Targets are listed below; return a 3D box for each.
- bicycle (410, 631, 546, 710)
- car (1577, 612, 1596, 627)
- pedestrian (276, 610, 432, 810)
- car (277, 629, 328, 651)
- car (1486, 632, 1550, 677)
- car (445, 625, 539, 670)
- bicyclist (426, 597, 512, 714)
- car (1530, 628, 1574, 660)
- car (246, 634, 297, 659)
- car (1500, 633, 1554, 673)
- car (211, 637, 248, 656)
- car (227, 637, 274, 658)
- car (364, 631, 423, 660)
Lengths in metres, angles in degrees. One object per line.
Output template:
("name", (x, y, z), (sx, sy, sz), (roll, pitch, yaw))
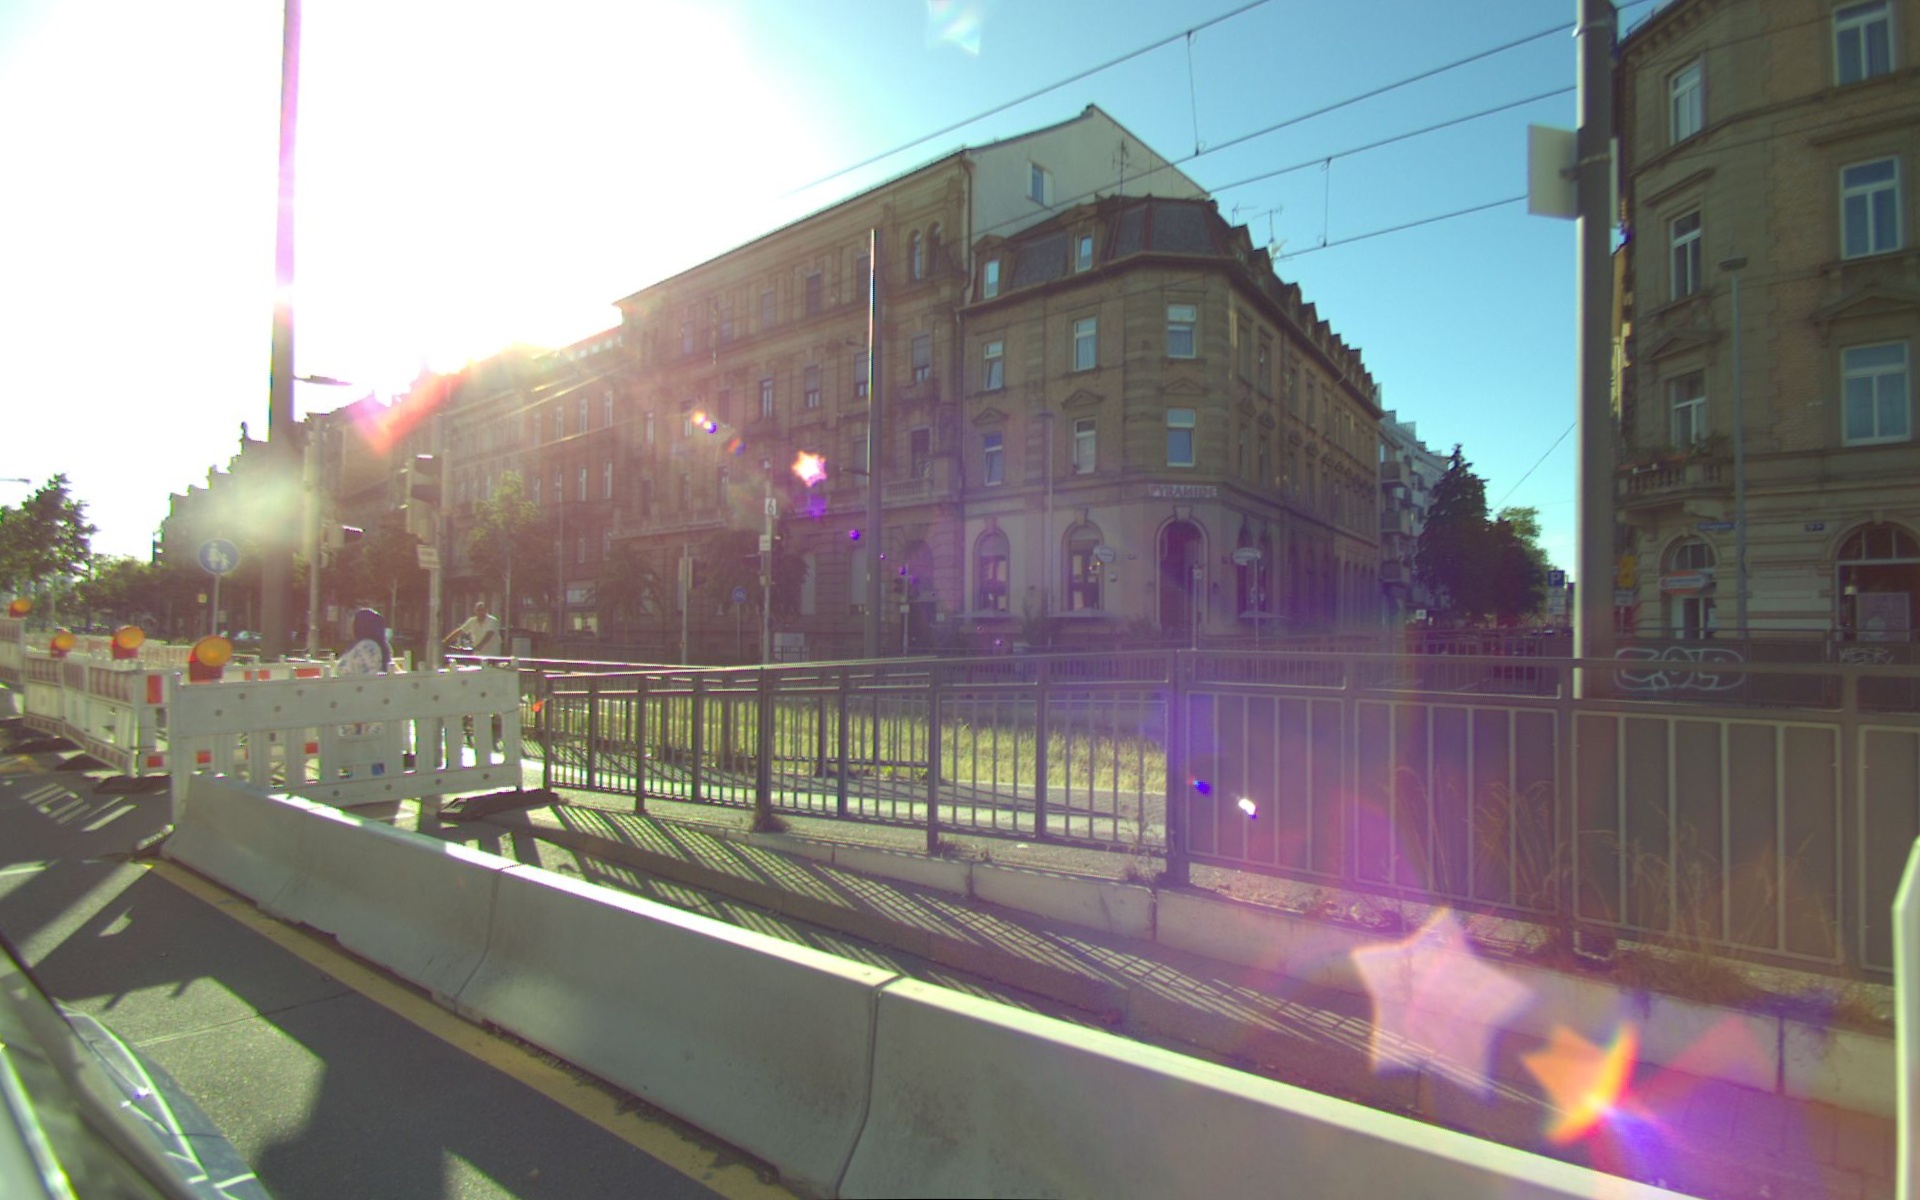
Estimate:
("bicycle", (-7.590, 1.073, 16.059), (0.848, 1.162, 1.987), (-1, -2, 16))
("car", (67.837, 2.149, 109.549), (1.732, 1.530, 3.750), (-1, -2, 32))
("pedestrian", (-4.830, 0.831, 8.070), (0.946, 1.469, 0.781), (-2, -3, 40))
("car", (-46.452, 2.803, 71.467), (4.306, 1.449, 1.973), (-2, -1, 41))
("car", (20.494, 1.946, 37.094), (1.821, 1.530, 3.956), (-1, -2, 32))
("car", (-18.309, 1.810, 39.544), (4.477, 1.652, 1.776), (-2, -2, 43))
("bicyclist", (-7.756, 0.860, 16.029), (0.848, 1.787, 0.880), (-1, -2, 16))
("car", (29.161, 2.129, 49.846), (1.732, 1.530, 3.750), (-1, -2, 32))
("car", (-51.829, 3.461, 76.141), (4.886, 1.710, 1.973), (-2, -1, 41))
("car", (23.347, 2.150, 41.594), (1.732, 1.530, 3.750), (-1, -2, 32))
("car", (-61.329, 3.885, 84.949), (4.027, 1.490, 1.730), (-2, -1, 42))
("car", (-56.412, 3.726, 80.421), (4.983, 1.549, 1.972), (-2, -1, 42))
("car", (-34.542, 2.743, 61.645), (4.545, 1.671, 1.917), (-2, -1, 44))
